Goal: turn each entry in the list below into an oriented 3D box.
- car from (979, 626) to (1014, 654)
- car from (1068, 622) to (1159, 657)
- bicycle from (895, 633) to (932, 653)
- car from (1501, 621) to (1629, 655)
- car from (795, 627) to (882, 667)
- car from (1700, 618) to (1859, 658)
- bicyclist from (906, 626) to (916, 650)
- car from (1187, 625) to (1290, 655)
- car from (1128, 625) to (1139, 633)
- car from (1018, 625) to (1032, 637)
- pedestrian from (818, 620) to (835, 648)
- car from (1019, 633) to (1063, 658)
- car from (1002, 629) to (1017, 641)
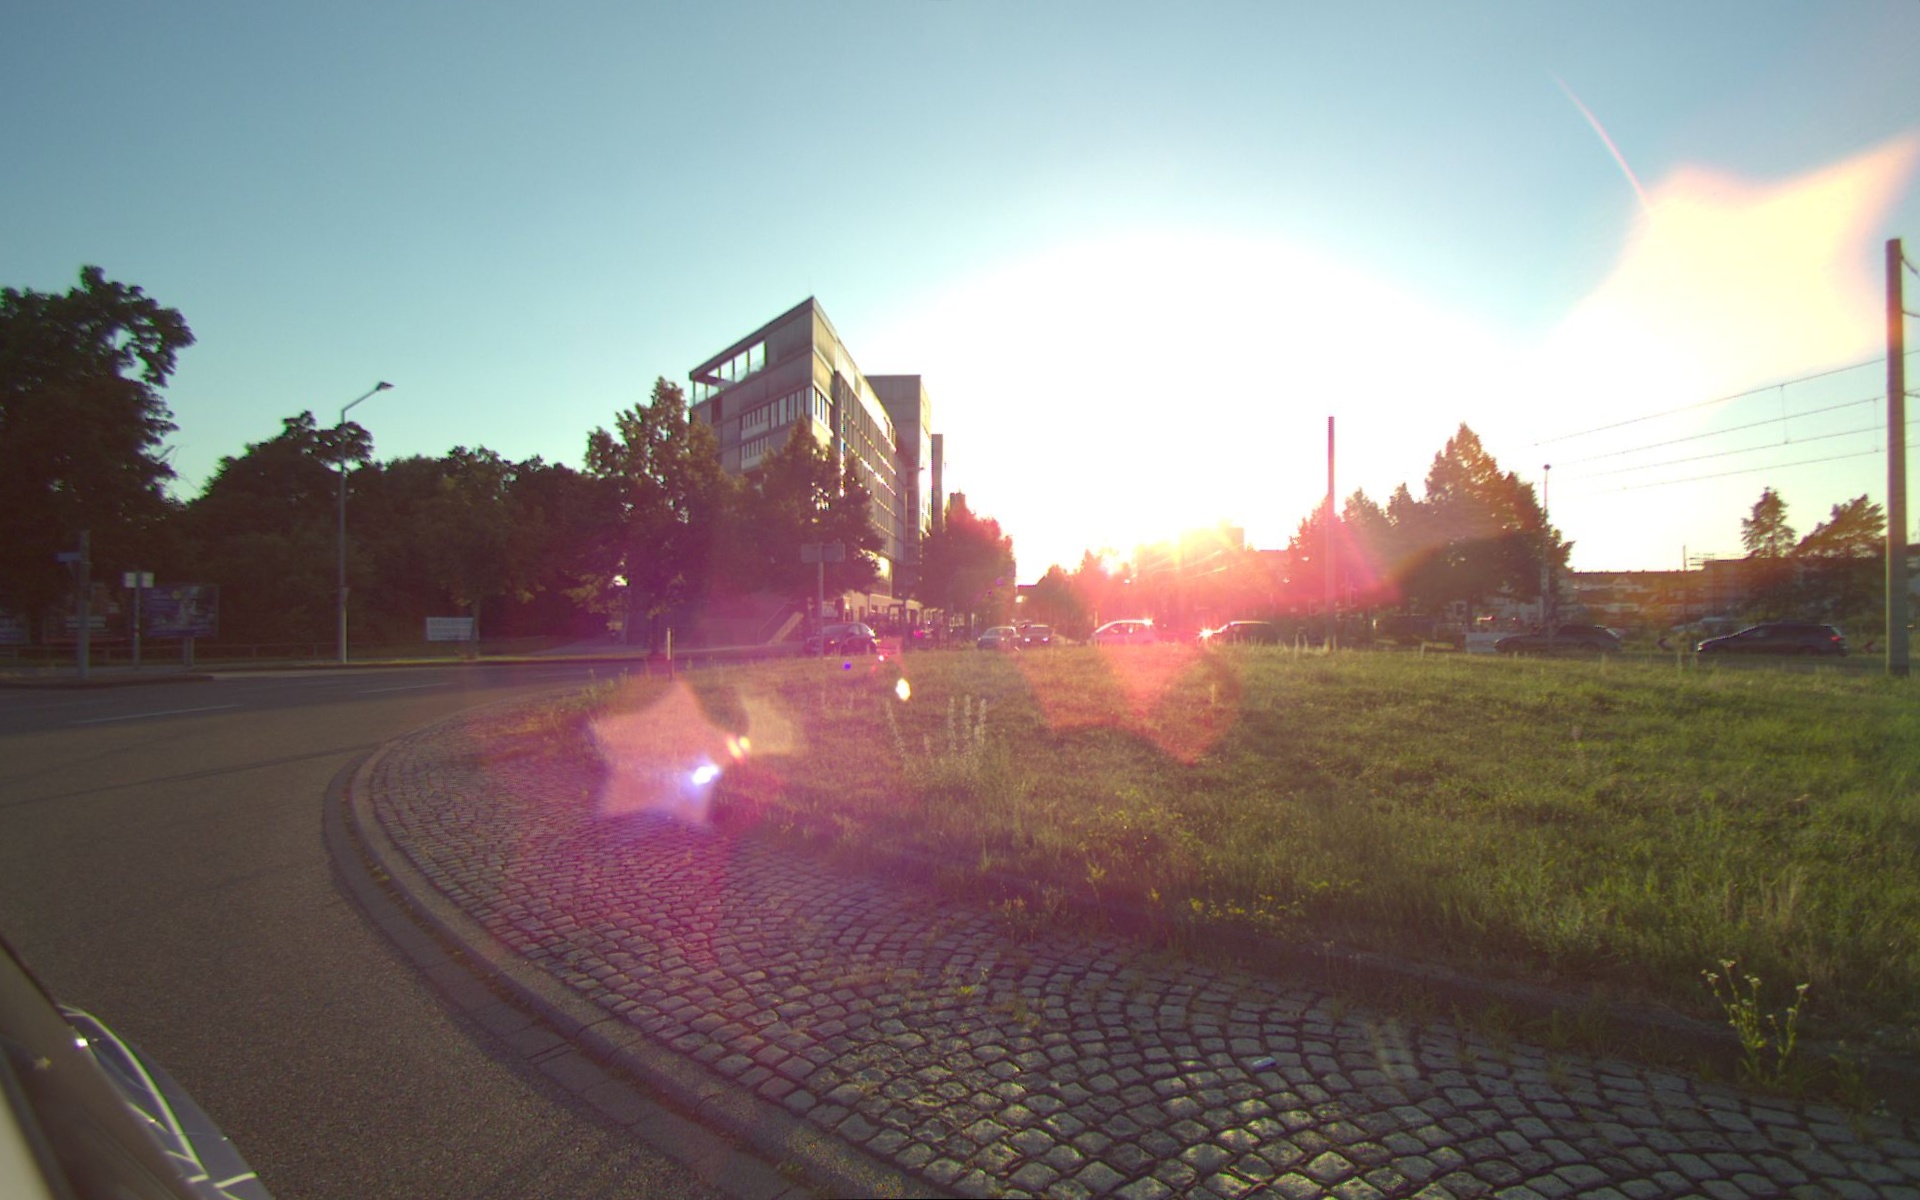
[{"bbox_3d":[2.014,2.167,55.141,1.668,1.431,3.994,-1,-1,5],"label":"car"},{"bbox_3d":[7.198,1.833,47.630,3.831,1.592,1.958,0,-1,-7],"label":"car"},{"bbox_3d":[-2.894,2.680,62.968,2.315,1.254,0.742,0,-1,0],"label":"bicycle"},{"bbox_3d":[25.727,1.596,43.110,4.351,1.386,1.972,-1,-2,42],"label":"car"},{"bbox_3d":[-4.618,1.764,39.079,1.678,1.431,3.971,-1,-1,22],"label":"car"},{"bbox_3d":[30.631,1.385,37.925,1.969,1.386,4.389,1,-2,-42],"label":"car"},{"bbox_3d":[-3.075,2.355,62.990,0.603,1.451,0.691,0,-1,0],"label":"bicyclist"},{"bbox_3d":[13.167,1.894,48.112,4.325,1.386,1.999,0,-1,2],"label":"car"},{"bbox_3d":[34.708,5.742,202.272,1.976,1.464,3.992,0,-1,6],"label":"car"},{"bbox_3d":[10.219,4.931,159.327,1.972,1.827,5.303,-2,-2,1],"label":"car"},{"bbox_3d":[-9.855,2.531,74.688,0.995,2.029,0.768,-1,0,29],"label":"pedestrian"},{"bbox_3d":[5.464,3.054,68.128,1.723,1.590,4.296,-1,-1,23],"label":"car"},{"bbox_3d":[5.928,4.175,120.720,1.729,1.389,4.119,0,-2,5],"label":"car"}]
